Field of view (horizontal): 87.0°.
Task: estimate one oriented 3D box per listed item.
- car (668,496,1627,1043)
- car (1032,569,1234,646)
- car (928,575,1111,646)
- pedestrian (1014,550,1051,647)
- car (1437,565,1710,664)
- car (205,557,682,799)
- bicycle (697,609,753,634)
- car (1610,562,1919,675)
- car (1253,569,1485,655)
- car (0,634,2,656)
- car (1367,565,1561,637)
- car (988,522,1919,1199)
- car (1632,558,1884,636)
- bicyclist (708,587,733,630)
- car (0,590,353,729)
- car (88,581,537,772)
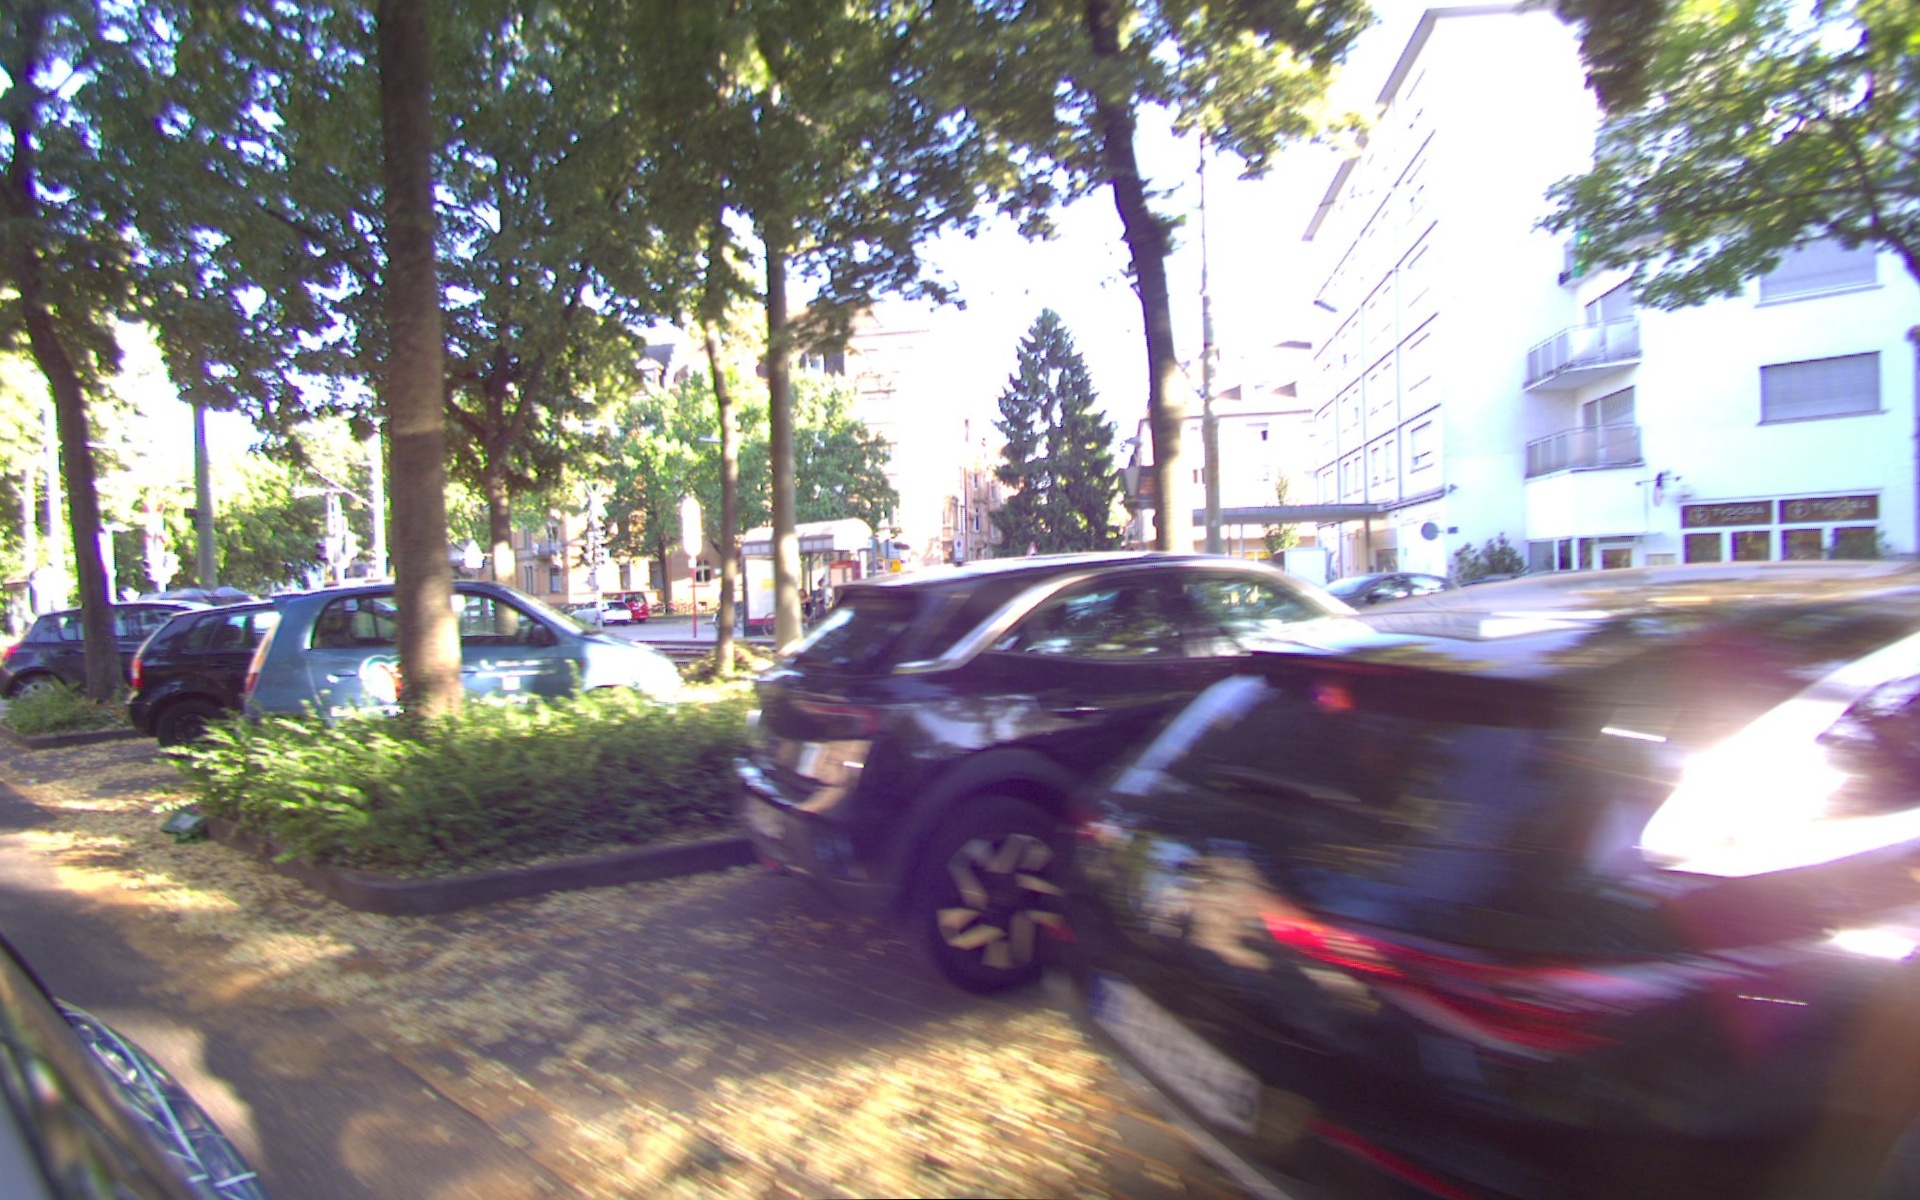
[{"bbox_3d":[0.850,0.434,4.759,3.932,1.523,1.966,-5,2,-24],"label":"car"},{"bbox_3d":[3.884,0.168,22.926,4.080,1.634,1.893,0,0,-16],"label":"car"},{"bbox_3d":[1.443,0.247,24.899,4.079,1.634,1.894,0,0,-18],"label":"car"},{"bbox_3d":[1.561,-0.038,21.783,0.528,2.029,0.645,-2,0,-17],"label":"pedestrian"},{"bbox_3d":[10.374,0.203,17.174,3.816,1.455,1.860,-2,1,-17],"label":"car"},{"bbox_3d":[-4.234,0.551,8.770,3.296,1.579,1.577,-5,2,-20],"label":"car"},{"bbox_3d":[-8.942,0.795,38.583,0.641,0.864,2.240,-1,0,35],"label":"bicycle"},{"bbox_3d":[12.123,0.233,15.262,3.816,1.455,1.860,-2,1,-17],"label":"car"},{"bbox_3d":[7.724,0.218,19.175,3.932,1.530,1.592,0,0,-17],"label":"car"},{"bbox_3d":[-33.200,1.206,31.615,4.368,1.634,1.640,-5,4,-28],"label":"car"},{"bbox_3d":[12.789,0.055,25.819,4.030,1.590,1.830,-2,2,45],"label":"car"},{"bbox_3d":[2.409,0.547,2.570,4.240,1.414,1.750,-5,2,-22],"label":"car"},{"bbox_3d":[16.976,-0.041,21.654,4.030,1.414,1.830,-2,2,45],"label":"car"},{"bbox_3d":[-9.084,0.310,38.382,0.551,1.602,0.672,-1,0,36],"label":"bicyclist"},{"bbox_3d":[-10.875,0.745,14.130,3.831,1.458,1.640,-5,4,-22],"label":"car"},{"bbox_3d":[-6.460,0.667,10.610,3.632,1.458,1.640,-5,4,-22],"label":"car"}]
